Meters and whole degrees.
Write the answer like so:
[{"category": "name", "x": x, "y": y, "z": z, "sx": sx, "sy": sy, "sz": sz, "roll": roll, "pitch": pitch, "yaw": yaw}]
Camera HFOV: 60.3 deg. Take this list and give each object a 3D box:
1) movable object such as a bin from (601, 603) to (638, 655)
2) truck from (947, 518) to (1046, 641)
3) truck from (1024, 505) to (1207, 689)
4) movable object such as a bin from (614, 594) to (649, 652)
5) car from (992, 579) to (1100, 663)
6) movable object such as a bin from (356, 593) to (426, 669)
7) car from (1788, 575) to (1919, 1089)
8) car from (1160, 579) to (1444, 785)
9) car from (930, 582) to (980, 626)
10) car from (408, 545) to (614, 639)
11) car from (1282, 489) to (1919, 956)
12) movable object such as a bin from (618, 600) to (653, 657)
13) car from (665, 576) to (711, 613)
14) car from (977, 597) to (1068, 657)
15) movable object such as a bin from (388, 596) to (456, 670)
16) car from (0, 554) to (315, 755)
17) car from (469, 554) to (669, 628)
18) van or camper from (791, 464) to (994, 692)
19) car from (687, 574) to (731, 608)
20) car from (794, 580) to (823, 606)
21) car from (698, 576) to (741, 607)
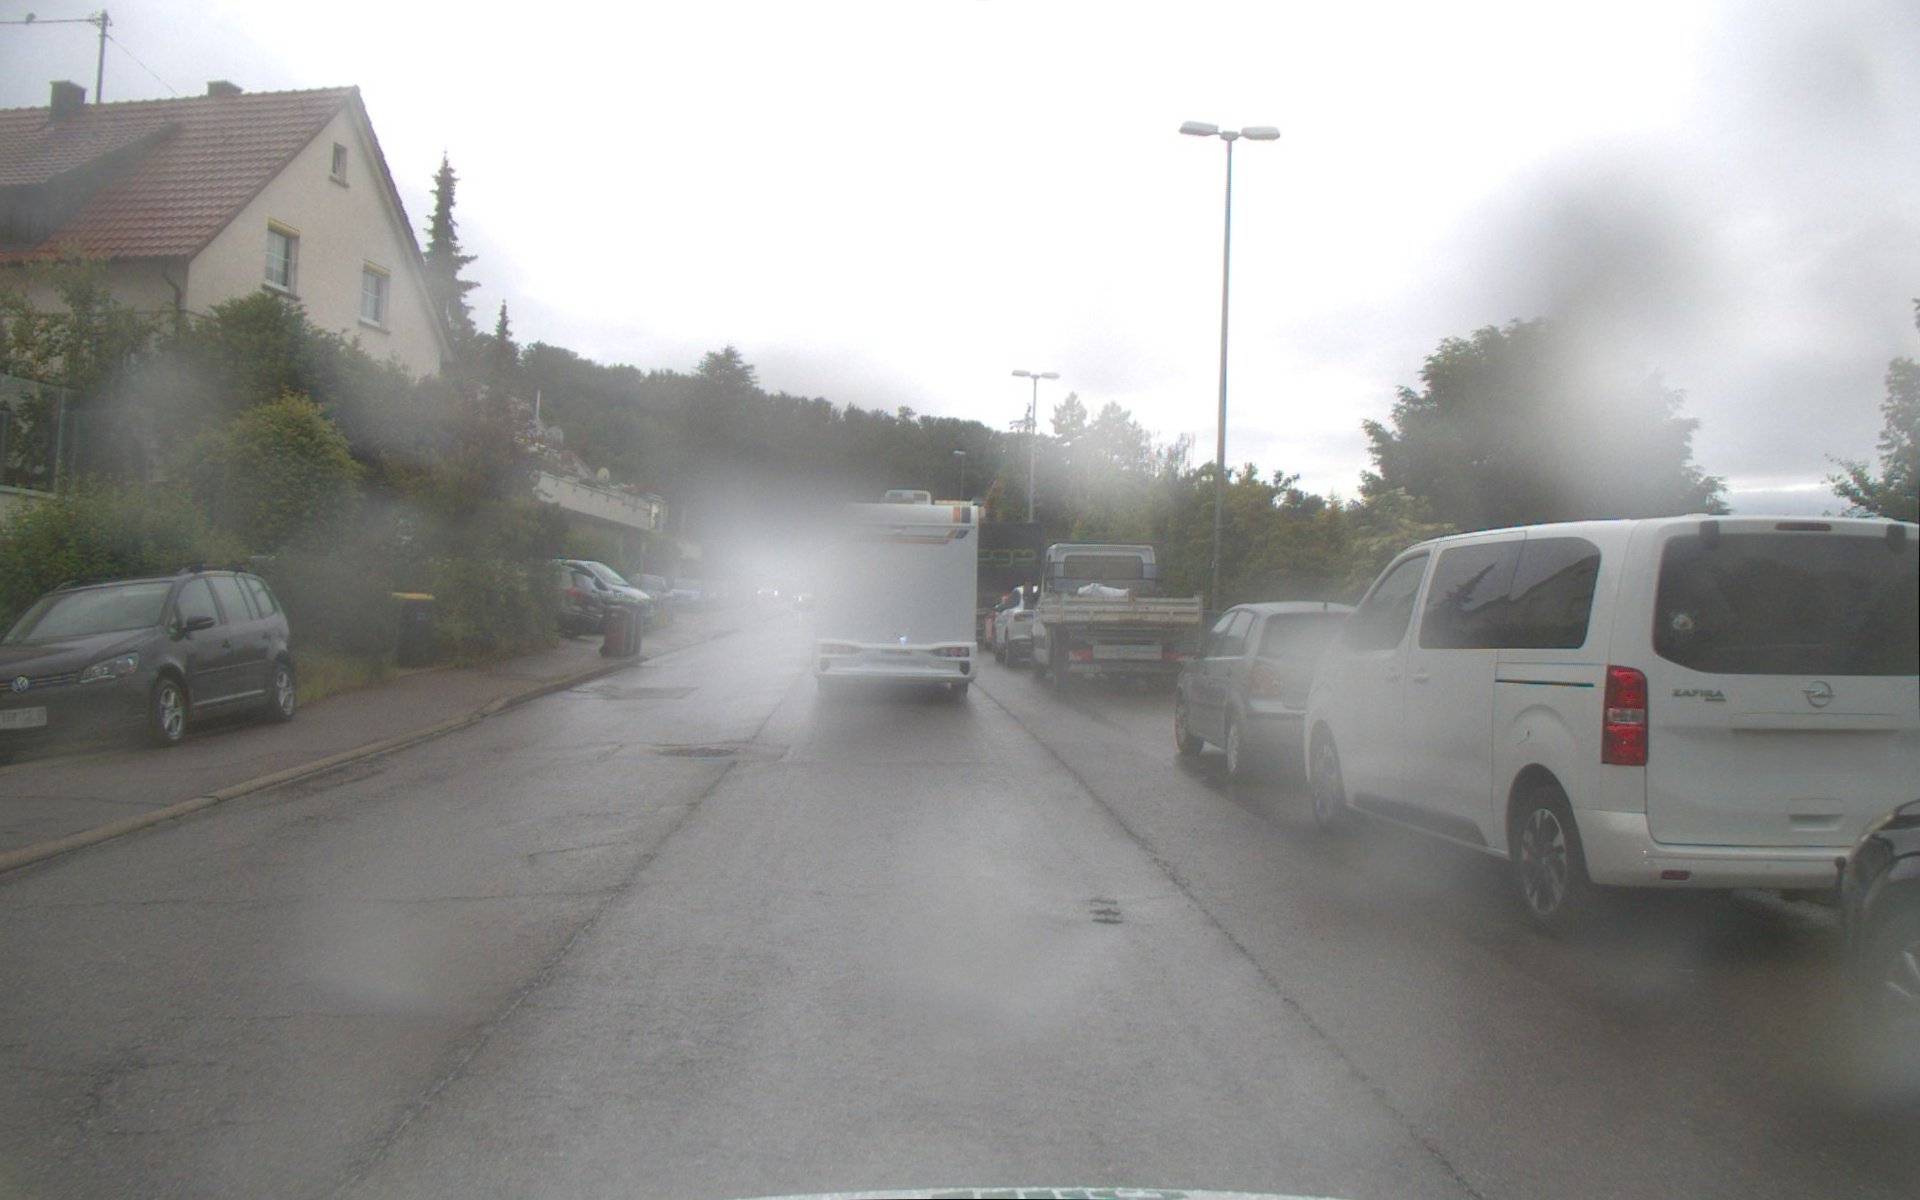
[{"category": "movable object such as a bin", "x": -6.450, "y": 0.539, "z": 31.355, "sx": 0.591, "sy": 0.944, "sz": 0.563, "roll": 2, "pitch": 0, "yaw": -8}, {"category": "truck", "x": 0.990, "y": -0.572, "z": 50.117, "sx": 2.388, "sy": 3.393, "sz": 7.960, "roll": 0, "pitch": 0, "yaw": -3}, {"category": "truck", "x": 2.406, "y": -0.045, "z": 27.475, "sx": 2.194, "sy": 2.677, "sz": 6.535, "roll": 0, "pitch": 0, "yaw": -2}, {"category": "movable object such as a bin", "x": -6.390, "y": 0.439, "z": 32.190, "sx": 0.591, "sy": 1.082, "sz": 0.637, "roll": 2, "pitch": 0, "yaw": -8}, {"category": "car", "x": 1.738, "y": 0.410, "z": 34.832, "sx": 1.724, "sy": 1.632, "sz": 4.663, "roll": 1, "pitch": 0, "yaw": -4}, {"category": "movable object such as a bin", "x": -8.415, "y": 0.451, "z": 24.472, "sx": 0.683, "sy": 1.102, "sz": 0.710, "roll": 1, "pitch": 0, "yaw": 17}, {"category": "car", "x": 3.839, "y": 0.714, "z": 3.652, "sx": 1.612, "sy": 1.567, "sz": 4.350, "roll": 1, "pitch": 0, "yaw": -4}, {"category": "car", "x": 2.899, "y": 0.638, "z": 14.840, "sx": 1.614, "sy": 1.590, "sz": 3.962, "roll": 0, "pitch": 0, "yaw": -2}, {"category": "car", "x": -0.233, "y": 0.132, "z": 66.148, "sx": 1.897, "sy": 1.701, "sz": 4.693, "roll": 0, "pitch": 0, "yaw": -1}, {"category": "car", "x": -10.189, "y": -0.172, "z": 37.634, "sx": 3.970, "sy": 1.721, "sz": 1.895, "roll": 5, "pitch": 0, "yaw": 10}, {"category": "car", "x": 3.406, "y": 0.508, "z": 9.320, "sx": 1.813, "sy": 1.915, "sz": 4.905, "roll": 1, "pitch": 0, "yaw": -6}, {"category": "movable object such as a bin", "x": -6.432, "y": 0.559, "z": 32.795, "sx": 0.591, "sy": 1.082, "sz": 0.697, "roll": 2, "pitch": 0, "yaw": -8}, {"category": "car", "x": -12.252, "y": -0.259, "z": 74.627, "sx": 1.576, "sy": 1.459, "sz": 3.956, "roll": 5, "pitch": 1, "yaw": -4}, {"category": "car", "x": 1.542, "y": 0.655, "z": 42.571, "sx": 1.796, "sy": 1.463, "sz": 4.982, "roll": 1, "pitch": 0, "yaw": -4}, {"category": "movable object such as a bin", "x": -8.187, "y": 0.489, "z": 25.183, "sx": 0.683, "sy": 1.102, "sz": 0.710, "roll": 1, "pitch": 0, "yaw": 16}, {"category": "car", "x": -7.756, "y": 0.442, "z": 15.662, "sx": 1.767, "sy": 1.625, "sz": 4.415, "roll": 1, "pitch": 0, "yaw": -3}, {"category": "car", "x": -10.852, "y": -0.255, "z": 46.021, "sx": 4.976, "sy": 1.978, "sz": 2.143, "roll": 1, "pitch": 0, "yaw": 13}, {"category": "van or camper", "x": -1.025, "y": -0.228, "z": 24.908, "sx": 2.563, "sy": 2.903, "sz": 6.027, "roll": 3, "pitch": -1, "yaw": -3}, {"category": "car", "x": -12.184, "y": -0.443, "z": 80.406, "sx": 1.601, "sy": 1.420, "sz": 4.236, "roll": 5, "pitch": 0, "yaw": -3}, {"category": "car", "x": -10.007, "y": -0.499, "z": 109.333, "sx": 1.869, "sy": 1.635, "sz": 4.424, "roll": 2, "pitch": 0, "yaw": -5}, {"category": "car", "x": -12.870, "y": -0.473, "z": 88.680, "sx": 1.739, "sy": 1.461, "sz": 4.585, "roll": 6, "pitch": 0, "yaw": -3}]
